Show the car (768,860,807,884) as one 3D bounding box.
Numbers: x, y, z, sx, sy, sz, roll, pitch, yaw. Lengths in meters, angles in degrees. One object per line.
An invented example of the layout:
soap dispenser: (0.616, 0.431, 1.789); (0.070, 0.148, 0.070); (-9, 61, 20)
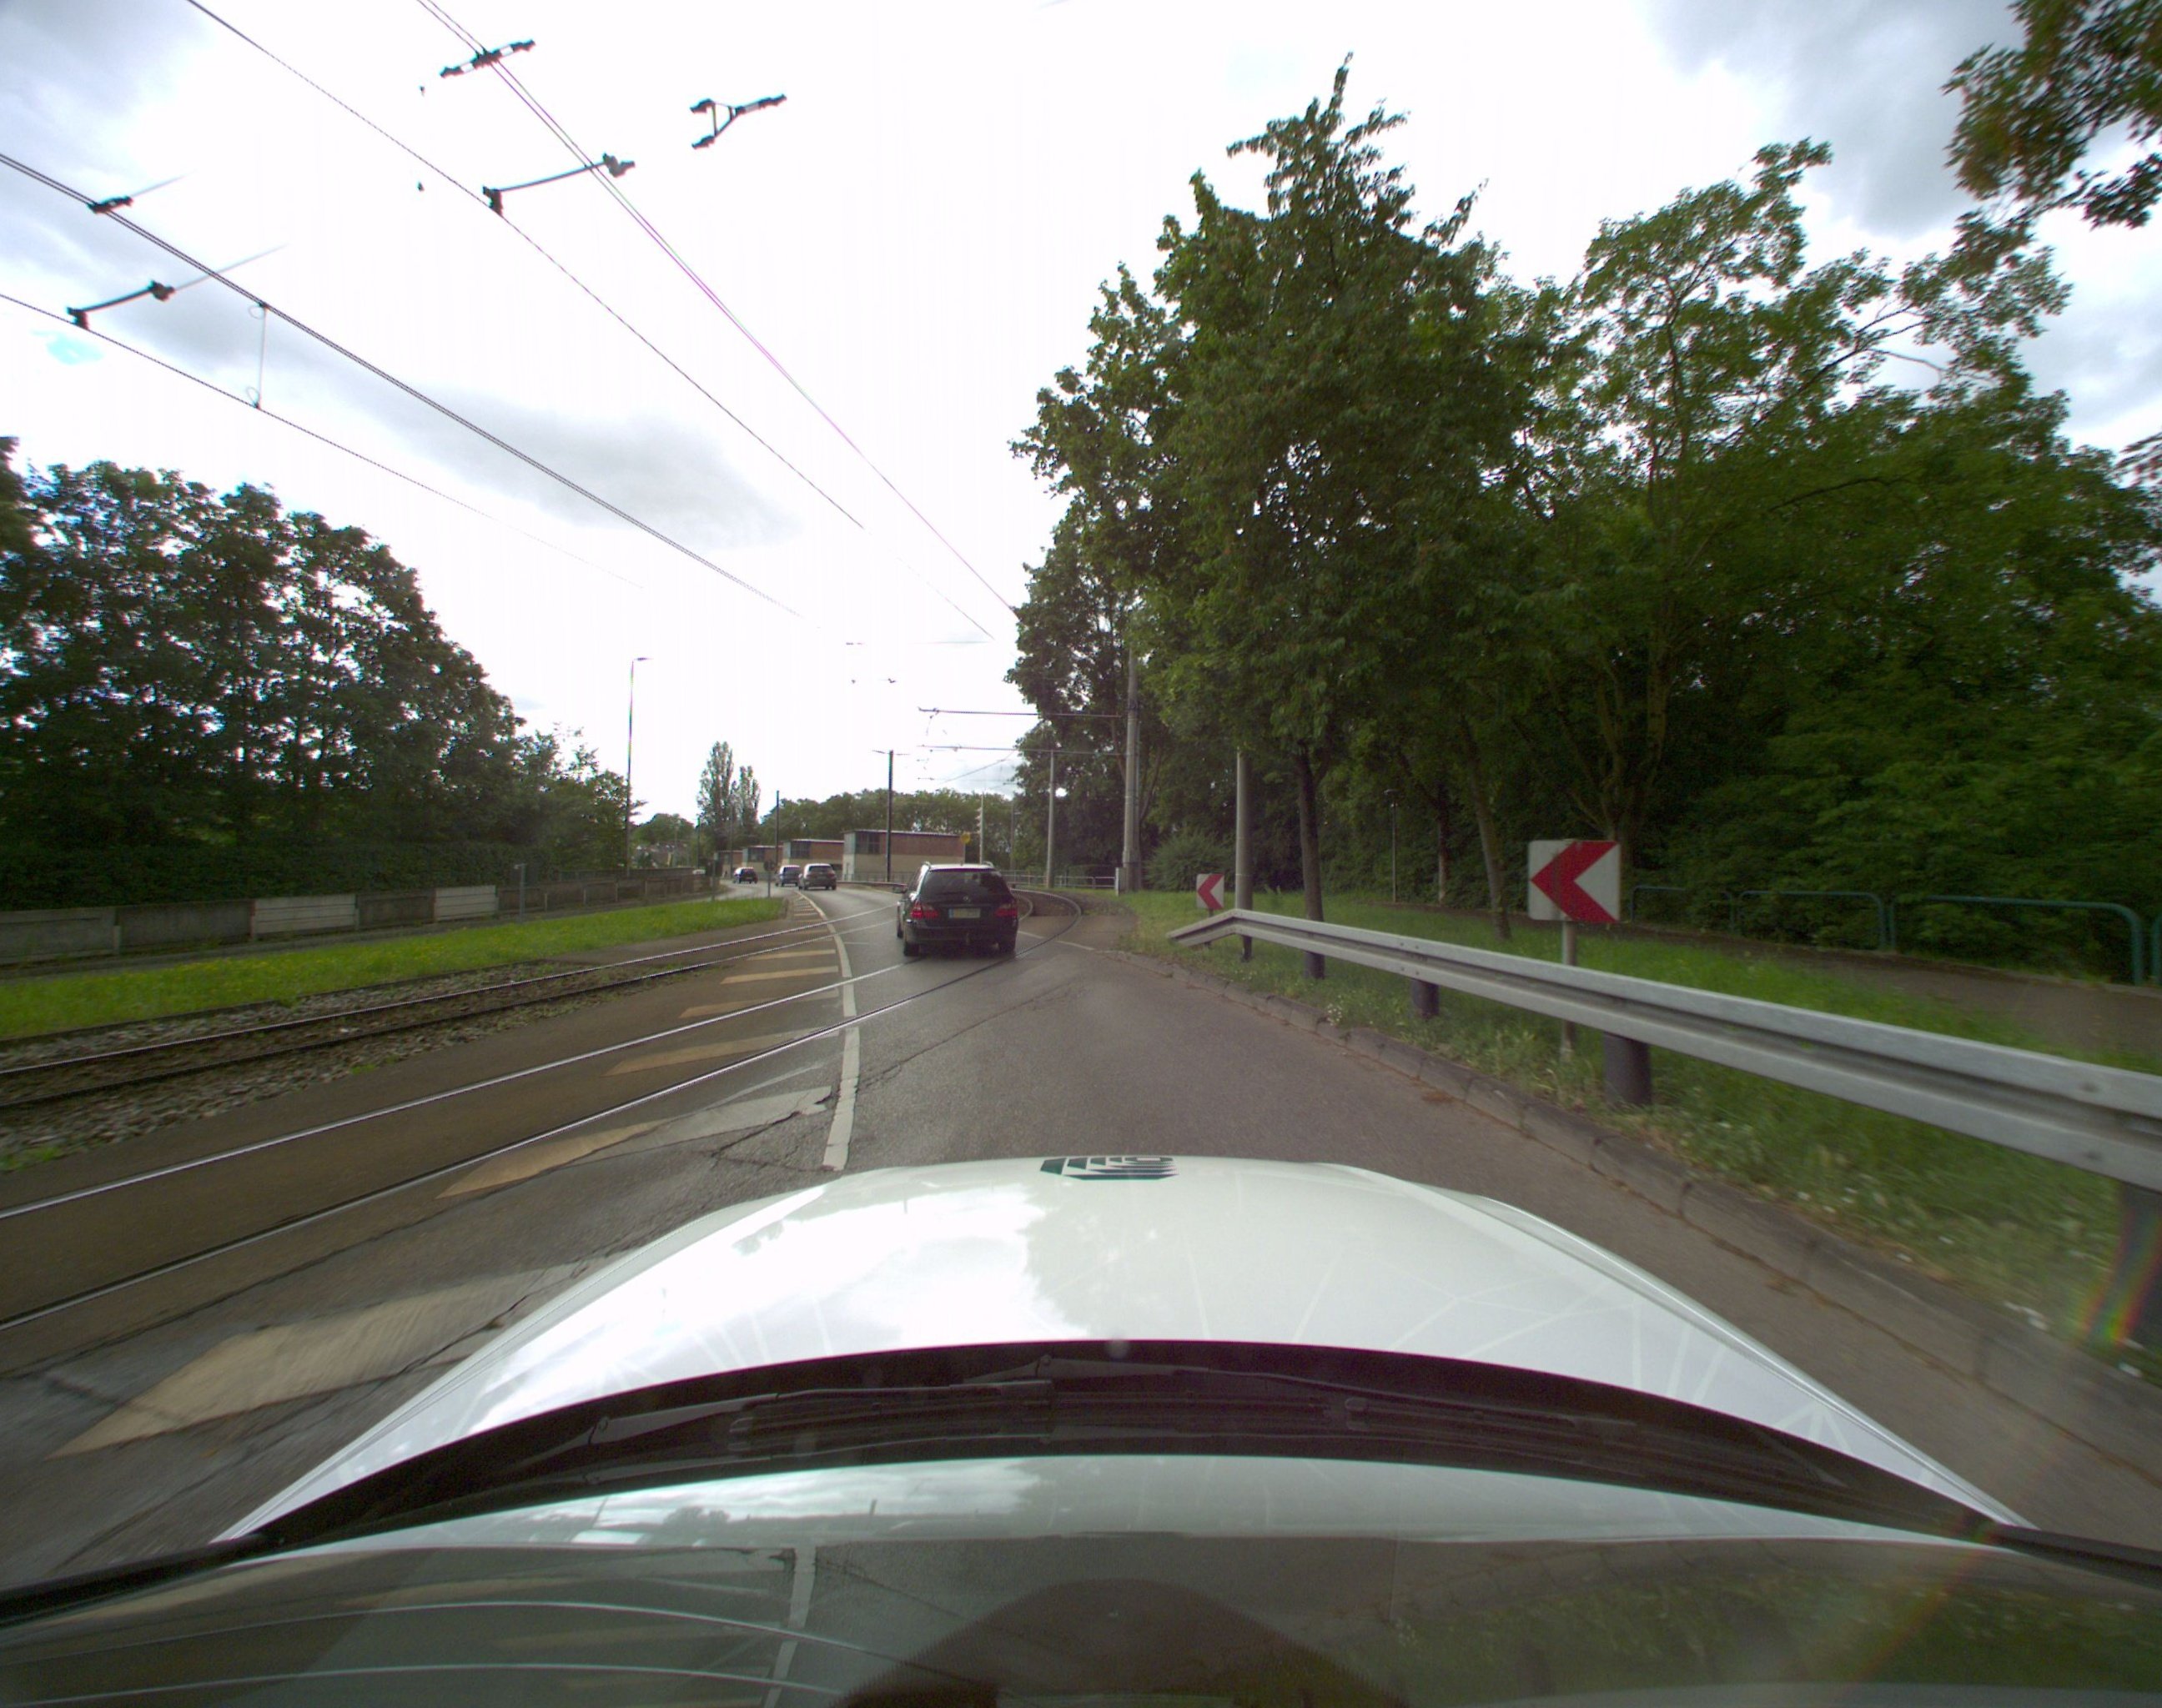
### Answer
car: (-21.259, 1.250, 58.843); (2.005, 1.564, 4.952); (-2, 1, -28)

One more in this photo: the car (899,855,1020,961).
car: (-2.267, 0.805, 14.336); (1.760, 1.515, 4.423); (-1, 0, -12)

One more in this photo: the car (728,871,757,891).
car: (-30.735, 2.397, 73.794); (2.005, 1.672, 4.499); (-1, 0, -28)

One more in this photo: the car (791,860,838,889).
car: (-15.538, 1.172, 47.307); (1.781, 1.555, 4.200); (-1, 0, -30)
